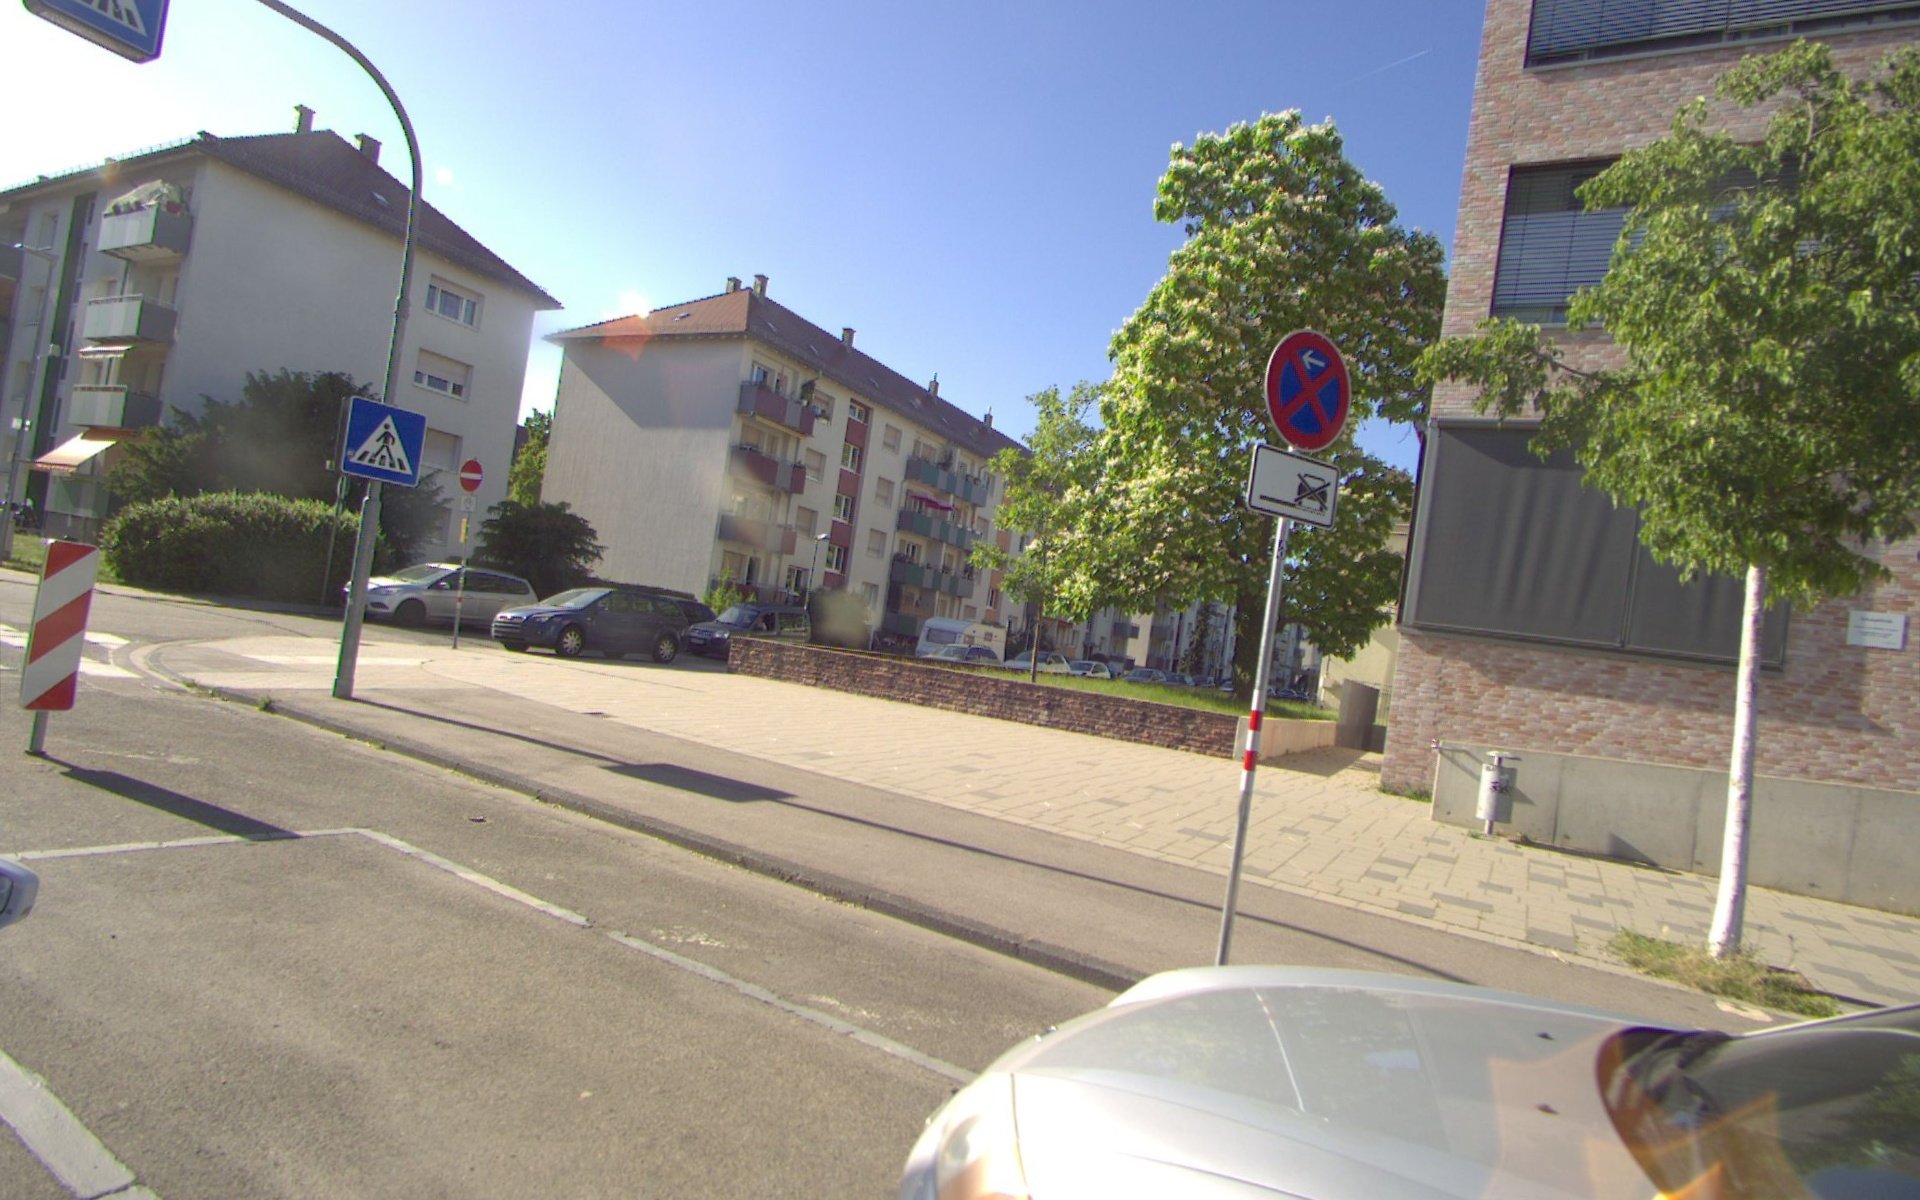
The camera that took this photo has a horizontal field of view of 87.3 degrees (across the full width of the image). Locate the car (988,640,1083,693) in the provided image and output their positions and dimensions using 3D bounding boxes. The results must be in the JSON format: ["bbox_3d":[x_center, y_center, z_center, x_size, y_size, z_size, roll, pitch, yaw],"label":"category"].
[{"bbox_3d":[3.155,2.765,41.241,1.966,1.646,4.559,7,-3,30],"label":"car"}]

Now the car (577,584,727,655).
[{"bbox_3d":[-9.032,0.610,29.830,1.792,1.528,3.983,7,-3,29],"label":"car"}]

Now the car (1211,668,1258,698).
[{"bbox_3d":[19.215,5.827,70.361,1.966,1.594,4.559,7,-3,30],"label":"car"}]

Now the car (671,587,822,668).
[{"bbox_3d":[-6.186,0.870,29.608,1.872,1.810,4.155,7,-3,30],"label":"car"}]

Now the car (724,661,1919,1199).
[{"bbox_3d":[2.113,1.118,1.031,4.852,1.347,1.652,7,-2,32],"label":"car"}]

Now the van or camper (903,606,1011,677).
[{"bbox_3d":[-0.046,1.944,45.873,2.433,2.566,5.243,7,-2,28],"label":"van or camper"}]

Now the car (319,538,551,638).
[{"bbox_3d":[-12.218,-0.211,23.742,1.881,1.641,4.421,7,-3,28],"label":"car"}]

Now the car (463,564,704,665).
[{"bbox_3d":[-7.763,0.385,21.249,1.874,1.490,4.561,7,-3,28],"label":"car"}]

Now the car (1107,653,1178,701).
[{"bbox_3d":[9.710,4.109,53.250,1.968,2.036,4.557,7,-3,32],"label":"car"}]

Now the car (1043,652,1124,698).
[{"bbox_3d":[5.656,3.444,45.597,1.898,1.600,4.559,7,-3,30],"label":"car"}]

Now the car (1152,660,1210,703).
[{"bbox_3d":[12.781,4.735,57.985,1.753,2.036,4.559,7,-3,30],"label":"car"}]

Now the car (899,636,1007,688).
[{"bbox_3d":[-0.171,2.208,35.236,1.869,1.496,4.159,3,-4,30],"label":"car"}]

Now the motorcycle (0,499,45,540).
[{"bbox_3d":[-31.577,-2.718,33.571,2.000,1.164,0.585,7,-1,21],"label":"motorcycle"}]
